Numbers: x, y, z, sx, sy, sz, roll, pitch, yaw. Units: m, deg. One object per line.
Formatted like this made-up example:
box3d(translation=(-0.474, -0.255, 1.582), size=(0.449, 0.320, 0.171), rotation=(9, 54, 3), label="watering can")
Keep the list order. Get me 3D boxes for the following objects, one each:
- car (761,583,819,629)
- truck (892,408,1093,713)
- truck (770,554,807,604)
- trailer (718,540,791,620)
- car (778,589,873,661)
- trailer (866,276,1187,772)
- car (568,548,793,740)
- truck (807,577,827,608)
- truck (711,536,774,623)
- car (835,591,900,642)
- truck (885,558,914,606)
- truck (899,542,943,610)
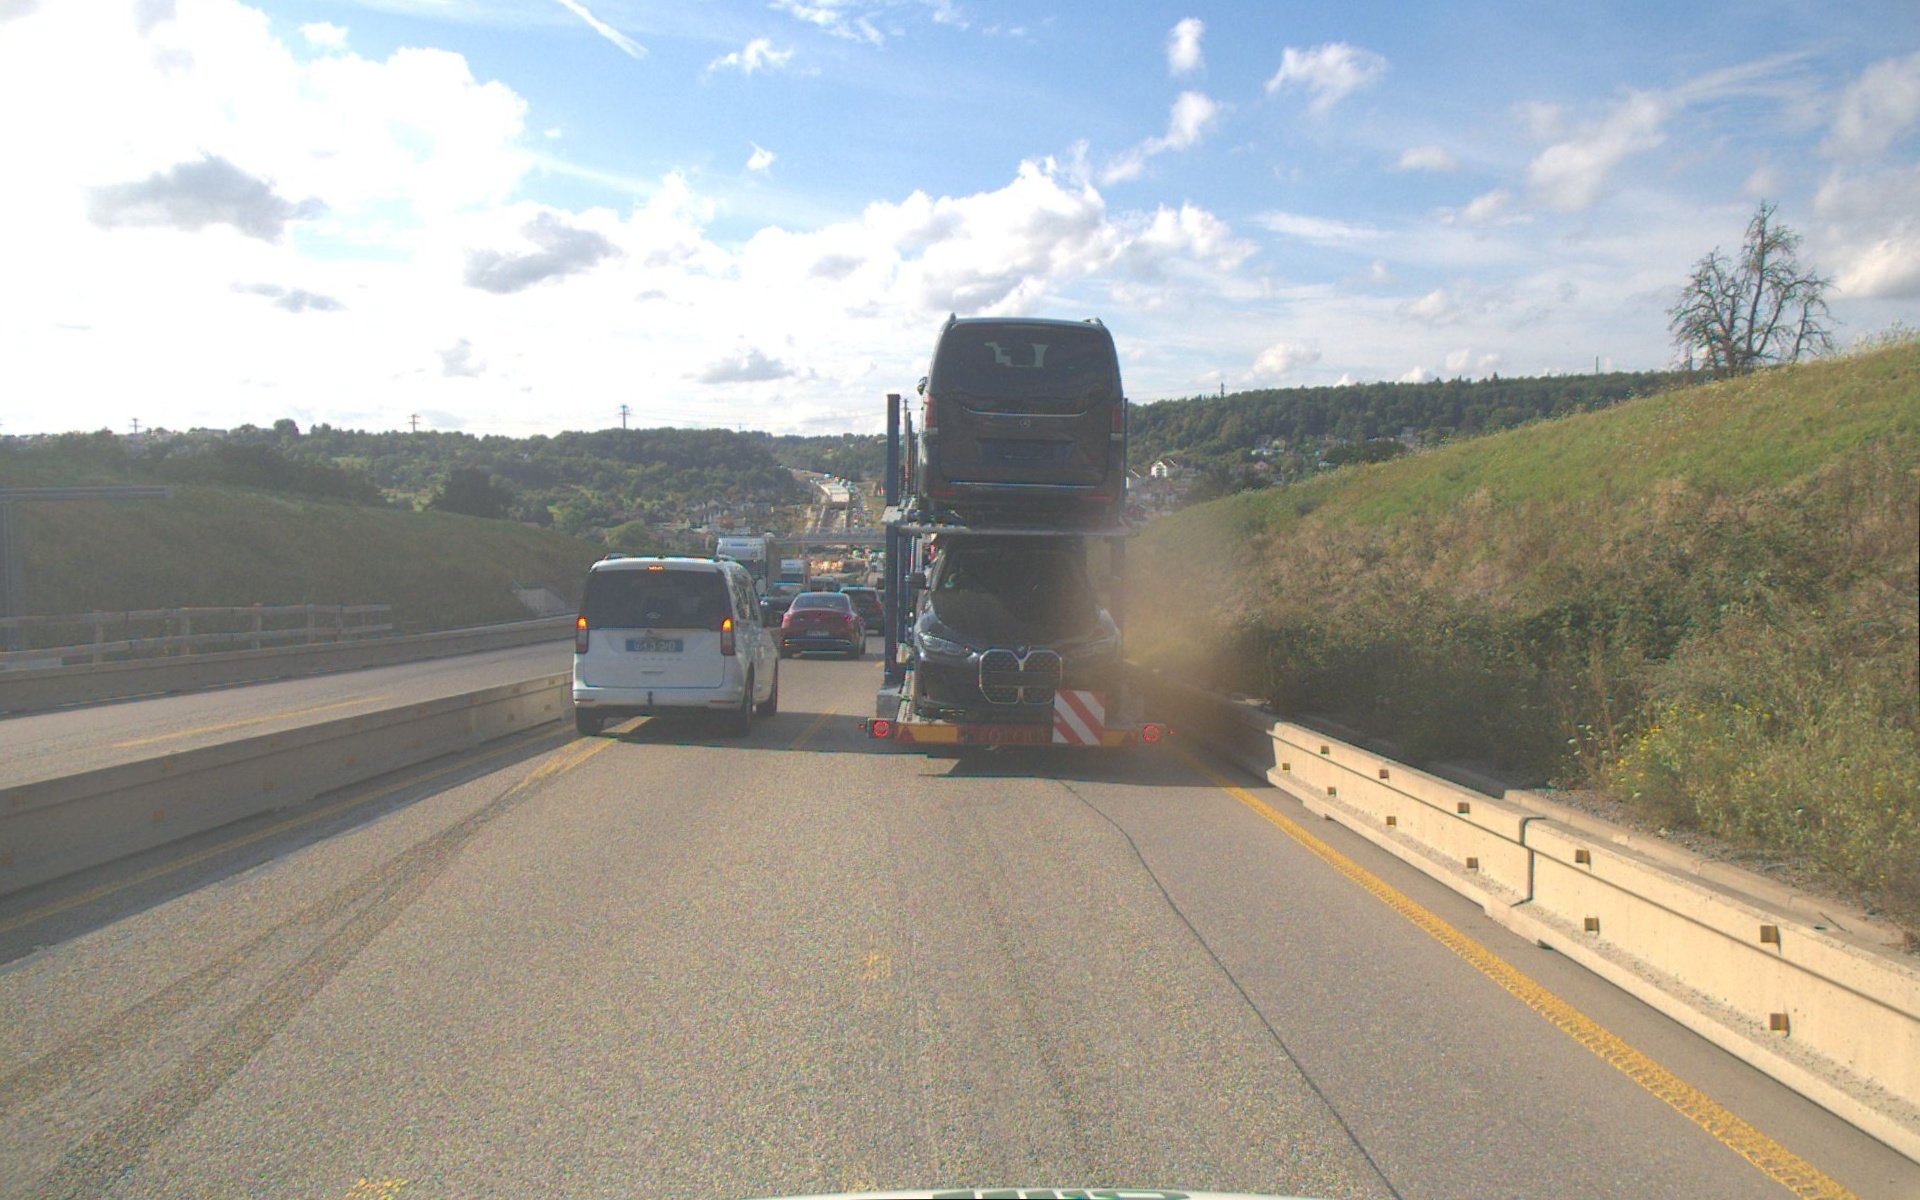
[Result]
box3d(translation=(-7.100, 0.215, 69.509), size=(1.908, 1.777, 5.578), rotation=(1, 1, -1), label="car")
box3d(translation=(0.386, -0.531, 24.672), size=(2.623, 3.990, 6.026), rotation=(0, 0, -1), label="truck")
box3d(translation=(-14.719, -1.800, 142.888), size=(2.586, 4.171, 10.812), rotation=(0, 0, -3), label="truck")
box3d(translation=(-11.024, -1.039, 90.051), size=(2.561, 4.023, 13.870), rotation=(0, 0, -1), label="trailer")
box3d(translation=(-3.085, 0.529, 38.701), size=(1.785, 1.518, 4.685), rotation=(1, 1, 0), label="car")
box3d(translation=(0.462, -0.662, 19.399), size=(2.653, 4.099, 11.417), rotation=(0, 0, -1), label="trailer")
box3d(translation=(-2.986, 0.405, 18.566), size=(1.786, 1.855, 4.455), rotation=(1, 1, -1), label="car")
box3d(translation=(-20.067, -1.059, 231.806), size=(2.586, 4.171, 10.809), rotation=(0, 0, -4), label="truck")
box3d(translation=(-10.877, -1.002, 83.206), size=(2.562, 4.226, 5.779), rotation=(0, 0, -2), label="truck")
box3d(translation=(-3.170, 0.531, 57.257), size=(1.953, 1.653, 4.750), rotation=(1, 0, 0), label="car")
box3d(translation=(-6.197, -1.789, 168.370), size=(2.806, 4.650, 11.652), rotation=(0, 0, -2), label="truck")
box3d(translation=(-2.897, -1.713, 119.424), size=(2.807, 4.650, 11.650), rotation=(0, 0, -3), label="truck")
